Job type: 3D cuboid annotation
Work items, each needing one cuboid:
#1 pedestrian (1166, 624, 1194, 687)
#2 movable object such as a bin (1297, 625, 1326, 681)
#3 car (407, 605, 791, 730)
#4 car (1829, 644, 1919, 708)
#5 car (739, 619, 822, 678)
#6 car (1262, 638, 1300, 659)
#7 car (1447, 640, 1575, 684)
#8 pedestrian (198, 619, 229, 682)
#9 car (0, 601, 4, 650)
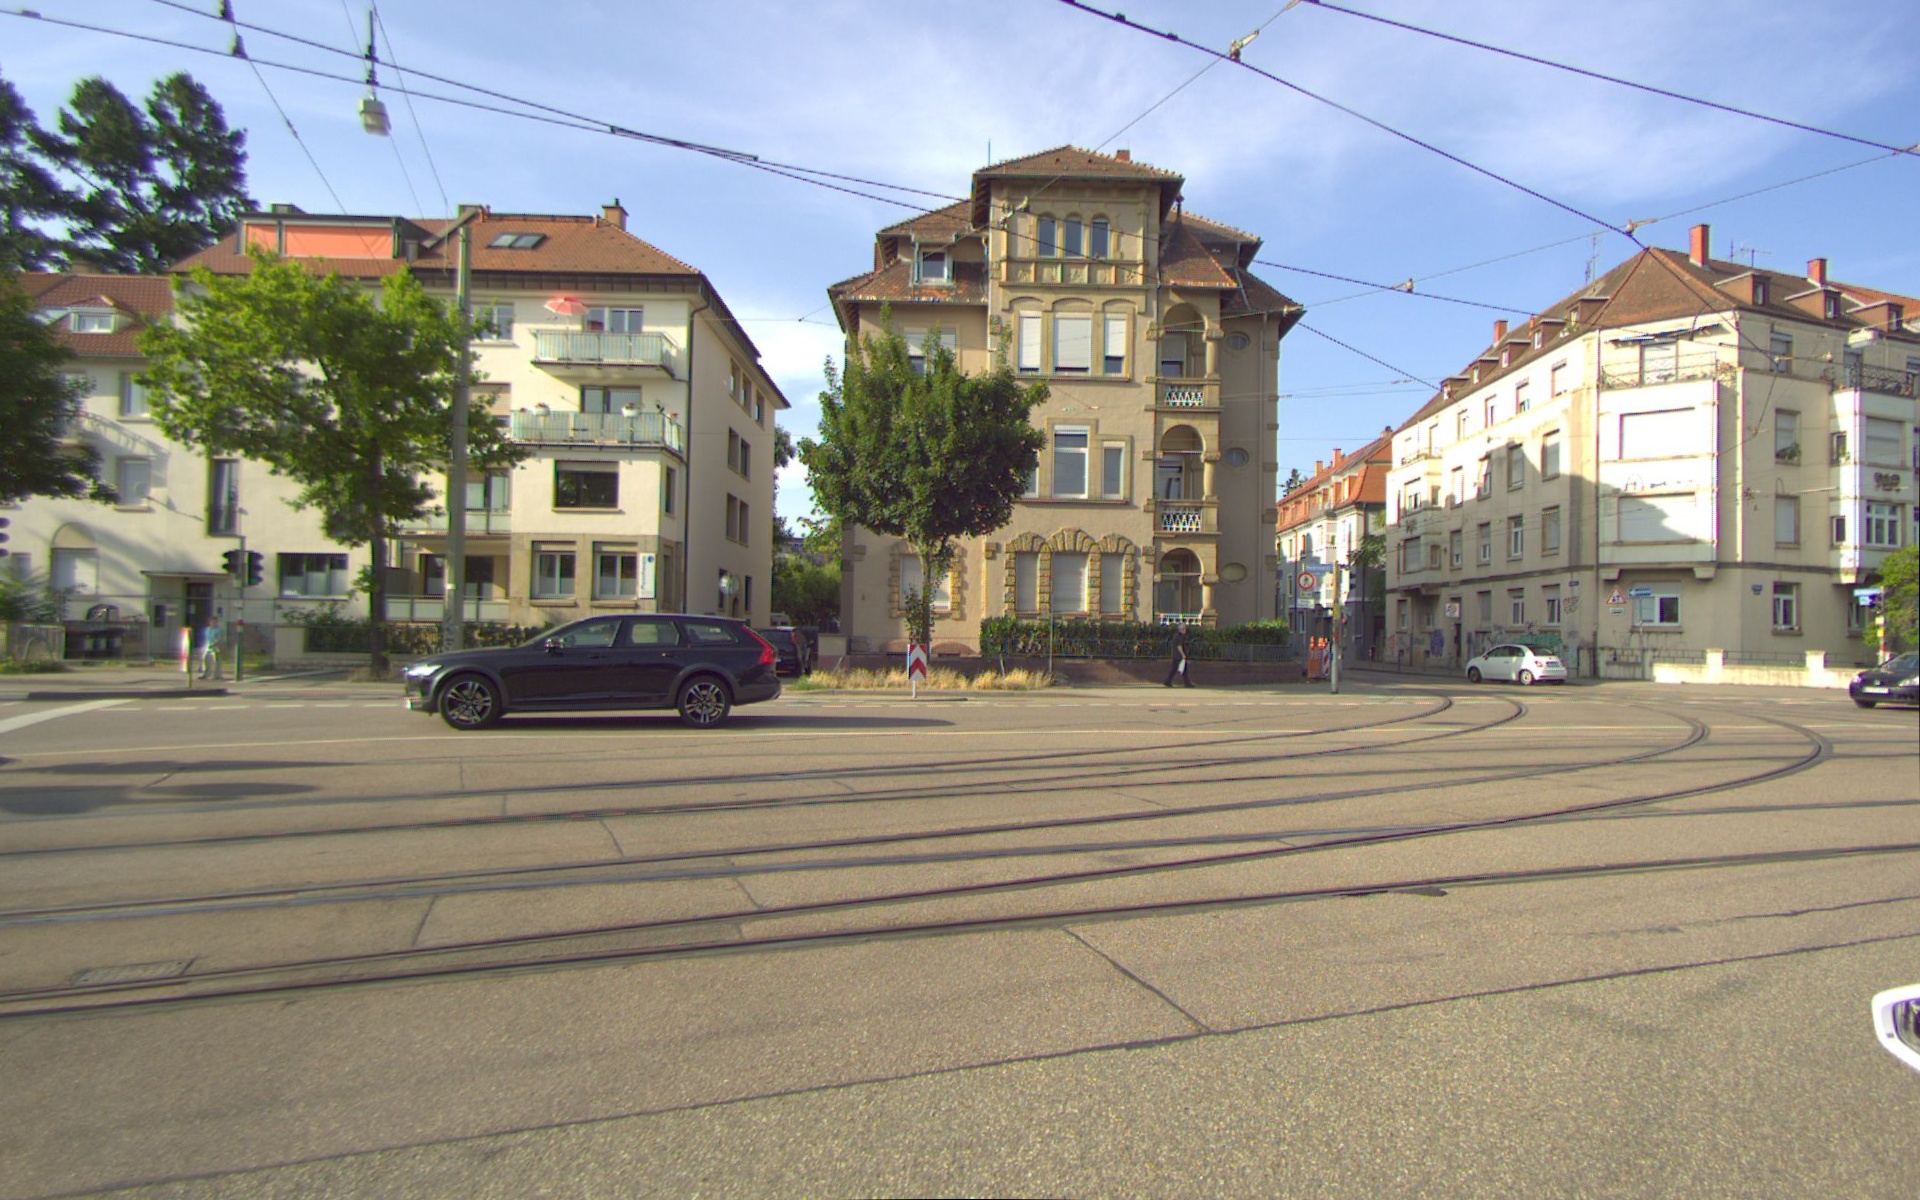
[{"bbox_3d":[5.992,1.510,27.377,0.592,1.673,0.681,1,-1,3],"label":"pedestrian"},{"bbox_3d":[11.232,1.691,32.056,0.260,1.732,2.376,0,-2,34],"label":"movable object such as a bin"},{"bbox_3d":[-4.800,0.855,13.835,4.670,1.514,1.765,0,-1,-19],"label":"car"},{"bbox_3d":[23.497,1.822,24.290,3.931,1.452,1.769,1,-2,-13],"label":"car"},{"bbox_3d":[-5.354,1.426,30.502,1.741,1.653,4.001,1,-2,1],"label":"car"},{"bbox_3d":[23.634,3.561,74.050,1.764,1.476,4.002,1,-2,5],"label":"car"},{"bbox_3d":[20.299,2.242,37.165,1.774,1.476,3.980,2,-2,-22],"label":"car"},{"bbox_3d":[-18.439,1.249,24.813,0.382,1.535,0.406,1,-1,2],"label":"pedestrian"},{"bbox_3d":[-31.874,0.739,30.458,1.819,1.578,4.001,1,-2,1],"label":"car"}]
